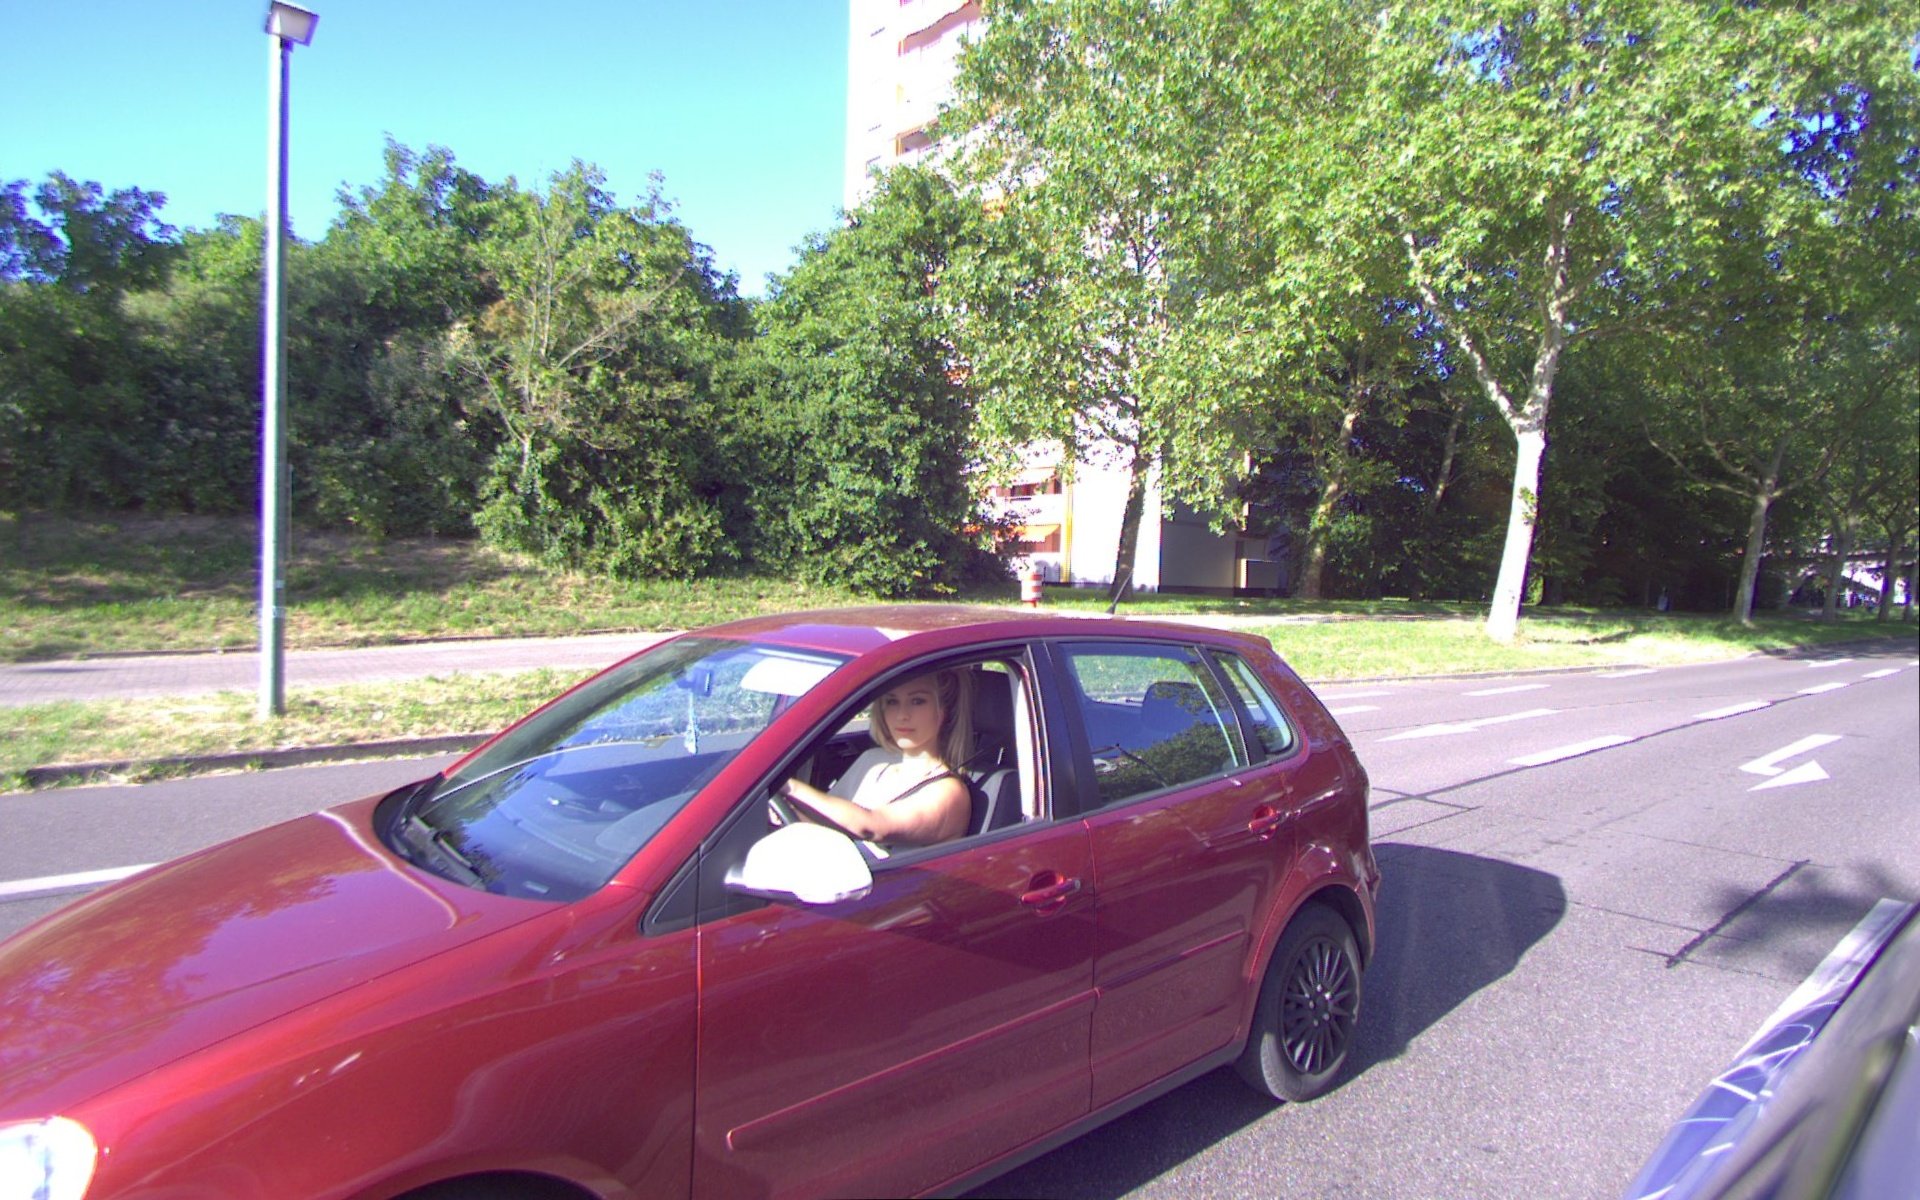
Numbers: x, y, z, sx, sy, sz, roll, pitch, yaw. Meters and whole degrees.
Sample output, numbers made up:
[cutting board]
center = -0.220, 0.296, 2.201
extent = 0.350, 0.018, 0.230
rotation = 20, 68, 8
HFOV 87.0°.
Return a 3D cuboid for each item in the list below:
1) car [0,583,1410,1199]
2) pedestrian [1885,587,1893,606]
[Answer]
[car]
center = -0.477, 0.693, 2.751
extent = 3.627, 1.434, 1.626
rotation = 0, 1, -39
[pedestrian]
center = 75.684, -0.296, 82.406
extent = 0.410, 1.481, 0.398
rotation = 0, 1, -38
